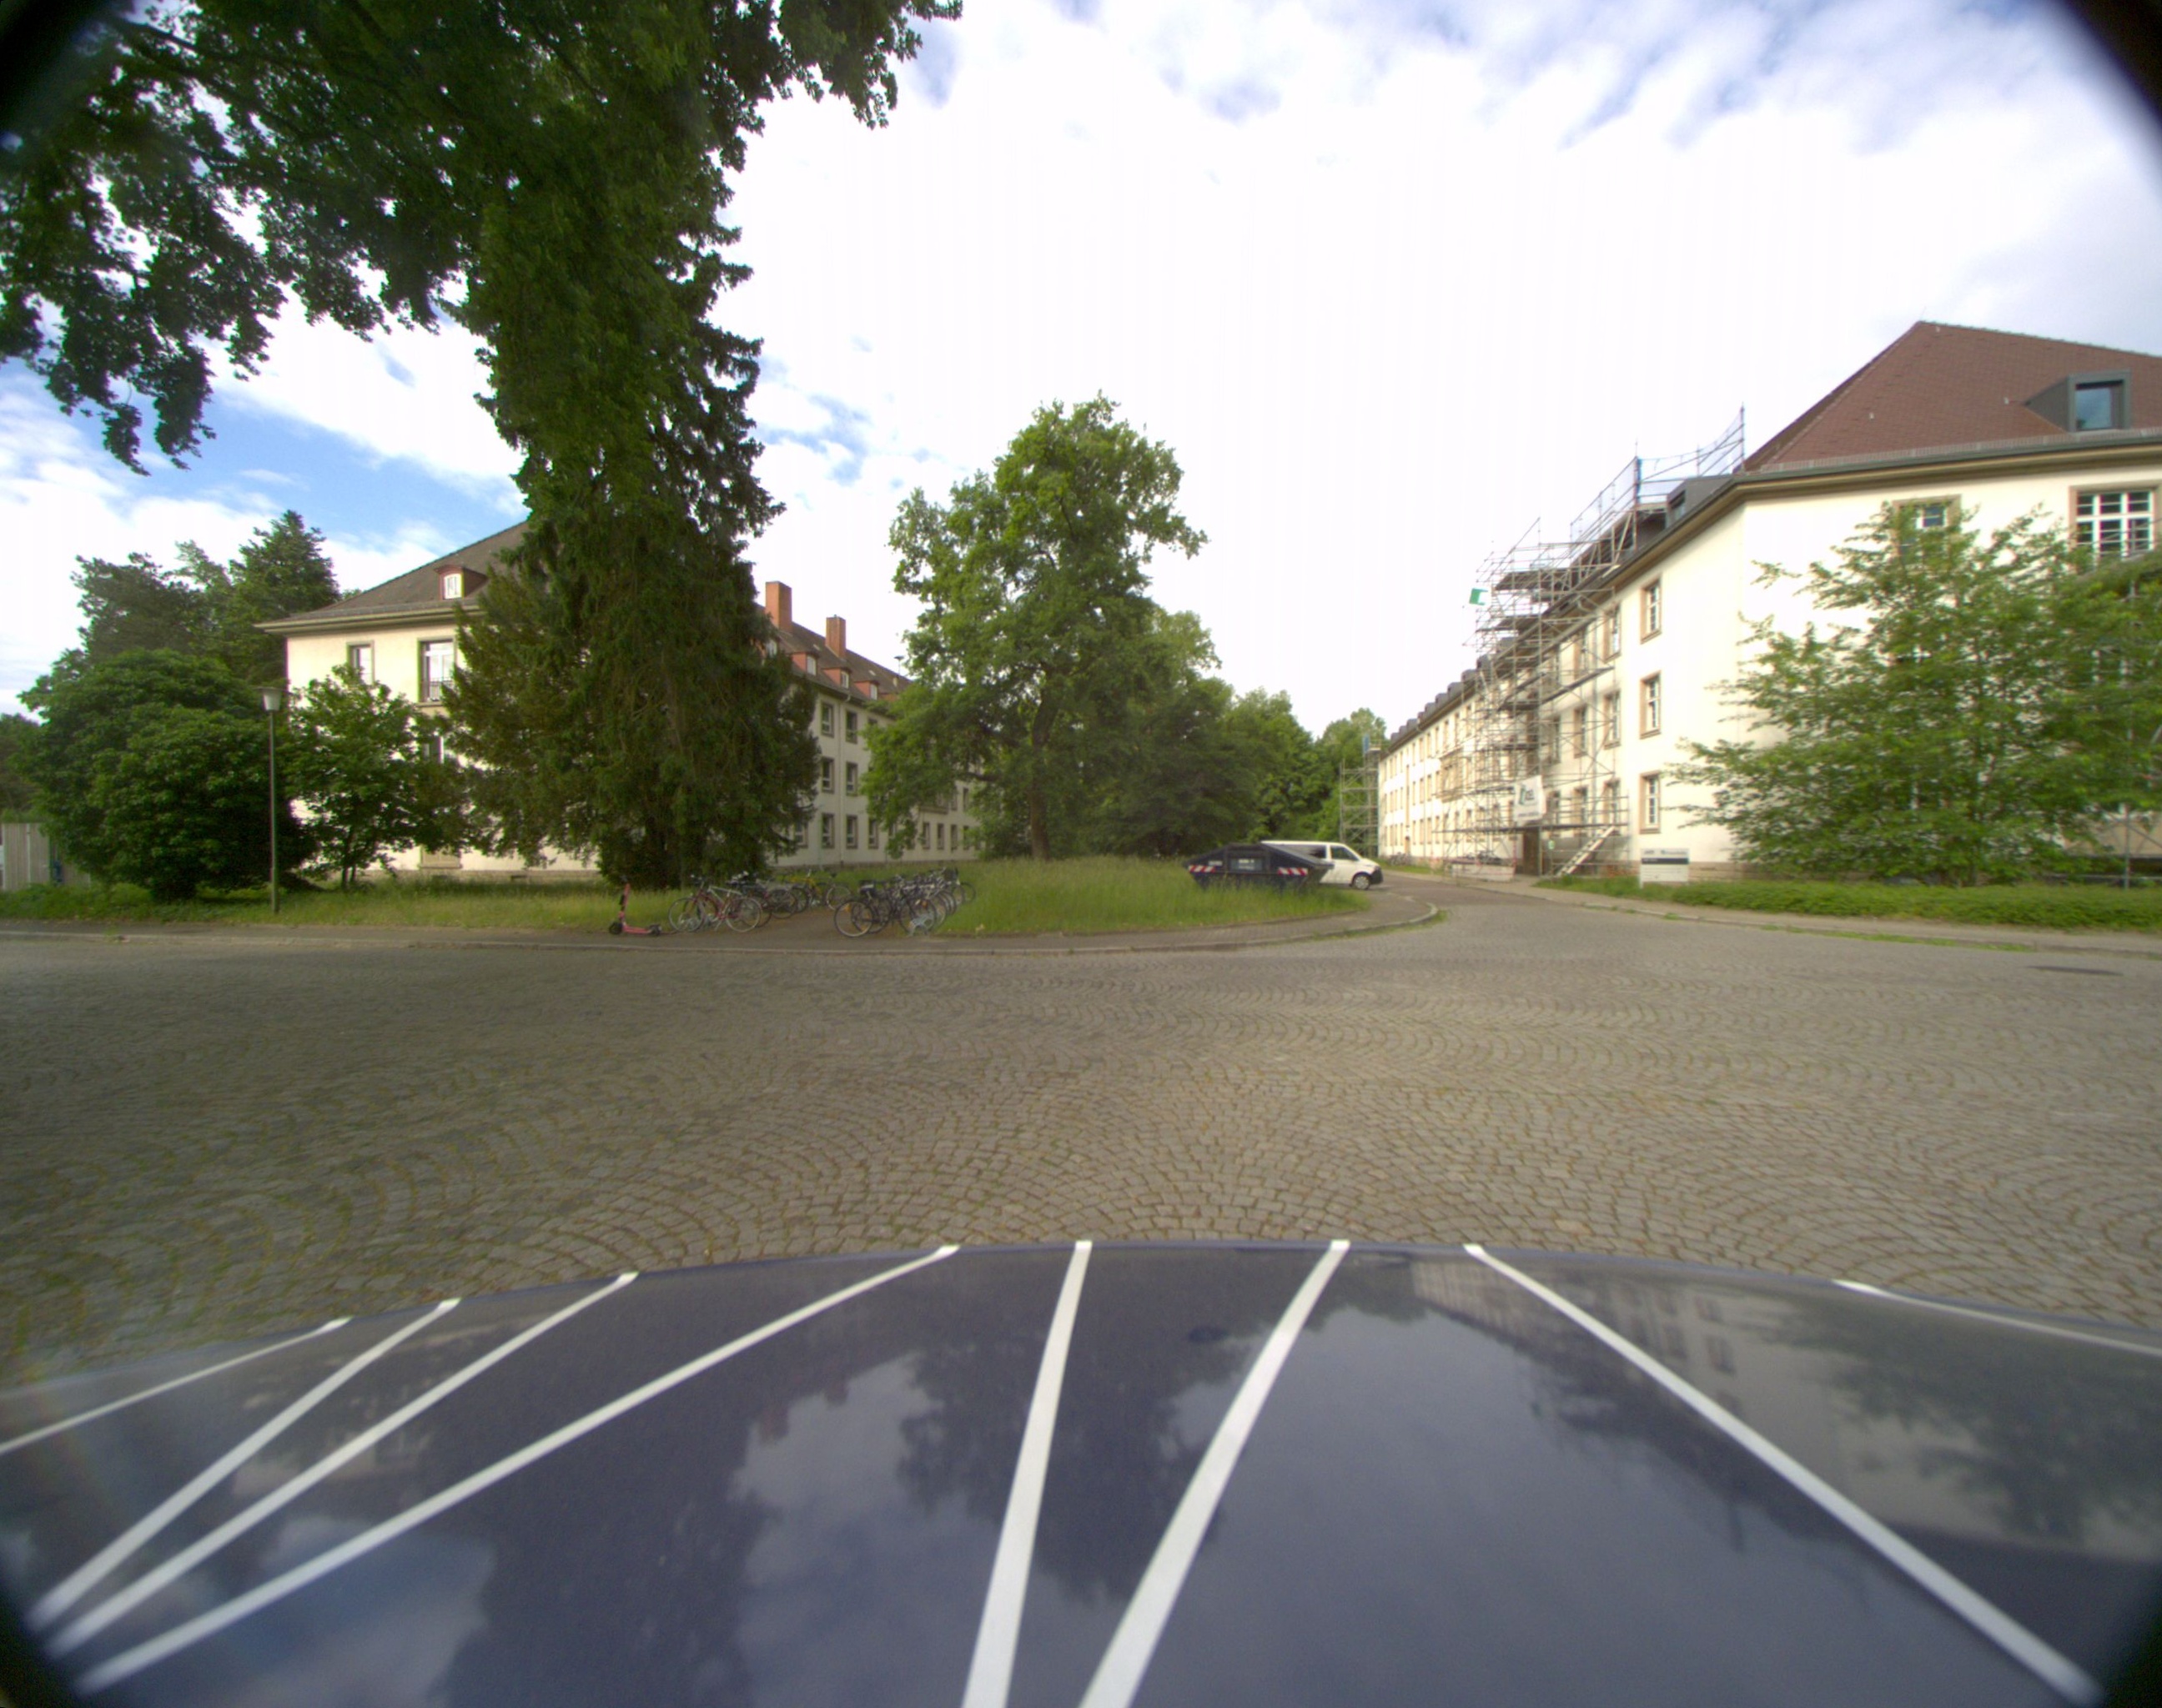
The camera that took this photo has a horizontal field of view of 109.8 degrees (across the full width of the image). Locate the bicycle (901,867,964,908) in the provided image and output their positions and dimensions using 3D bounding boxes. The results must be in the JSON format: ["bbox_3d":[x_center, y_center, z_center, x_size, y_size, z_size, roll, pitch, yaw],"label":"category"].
[{"bbox_3d":[-4.062,0.912,20.831,1.621,1.053,0.526,-2,3,-6],"label":"bicycle"}]

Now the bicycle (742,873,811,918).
[{"bbox_3d":[-7.541,1.015,18.876,1.517,1.030,0.544,-1,3,-17],"label":"bicycle"}]

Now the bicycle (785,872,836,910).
[{"bbox_3d":[-7.583,1.031,21.357,1.263,1.022,0.434,-2,-1,-6],"label":"bicycle"}]

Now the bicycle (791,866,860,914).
[{"bbox_3d":[-6.635,0.935,19.810,1.644,1.179,0.573,0,3,-12],"label":"bicycle"}]

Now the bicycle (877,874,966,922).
[{"bbox_3d":[-3.722,1.025,17.876,1.959,0.999,0.686,-2,3,-6],"label":"bicycle"}]

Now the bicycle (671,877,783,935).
[{"bbox_3d":[-7.323,1.068,15.787,1.991,1.108,0.643,0,3,-6],"label":"bicycle"}]

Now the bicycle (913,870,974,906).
[{"bbox_3d":[-3.861,0.953,21.416,1.621,0.906,0.526,-2,3,-6],"label":"bicycle"}]

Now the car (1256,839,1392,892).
[{"bbox_3d":[10.063,0.461,31.893,5.208,2.048,2.190,1,0,12],"label":"car"}]

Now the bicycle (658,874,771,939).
[{"bbox_3d":[-7.250,1.026,15.110,1.901,1.216,0.643,0,3,-6],"label":"bicycle"}]

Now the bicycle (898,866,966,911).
[{"bbox_3d":[-3.972,0.915,20.302,1.701,1.110,0.541,-2,3,-6],"label":"bicycle"}]

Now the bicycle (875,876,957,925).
[{"bbox_3d":[-3.676,1.028,17.054,1.696,0.996,0.631,-2,3,-6],"label":"bicycle"}]

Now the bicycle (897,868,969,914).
[{"bbox_3d":[-3.830,0.944,19.769,1.776,1.099,0.541,-2,3,-6],"label":"bicycle"}]

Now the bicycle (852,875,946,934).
[{"bbox_3d":[-3.717,1.025,15.629,1.773,1.097,0.702,-2,3,-6],"label":"bicycle"}]

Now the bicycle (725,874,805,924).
[{"bbox_3d":[-7.231,1.016,17.458,1.631,1.068,0.538,-1,3,-17],"label":"bicycle"}]

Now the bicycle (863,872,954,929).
[{"bbox_3d":[-3.676,0.992,16.349,1.799,1.097,0.702,-2,3,-6],"label":"bicycle"}]

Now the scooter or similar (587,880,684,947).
[{"bbox_3d":[-8.481,1.112,14.469,1.549,1.188,0.683,-1,2,17],"label":"scooter or similar"}]
